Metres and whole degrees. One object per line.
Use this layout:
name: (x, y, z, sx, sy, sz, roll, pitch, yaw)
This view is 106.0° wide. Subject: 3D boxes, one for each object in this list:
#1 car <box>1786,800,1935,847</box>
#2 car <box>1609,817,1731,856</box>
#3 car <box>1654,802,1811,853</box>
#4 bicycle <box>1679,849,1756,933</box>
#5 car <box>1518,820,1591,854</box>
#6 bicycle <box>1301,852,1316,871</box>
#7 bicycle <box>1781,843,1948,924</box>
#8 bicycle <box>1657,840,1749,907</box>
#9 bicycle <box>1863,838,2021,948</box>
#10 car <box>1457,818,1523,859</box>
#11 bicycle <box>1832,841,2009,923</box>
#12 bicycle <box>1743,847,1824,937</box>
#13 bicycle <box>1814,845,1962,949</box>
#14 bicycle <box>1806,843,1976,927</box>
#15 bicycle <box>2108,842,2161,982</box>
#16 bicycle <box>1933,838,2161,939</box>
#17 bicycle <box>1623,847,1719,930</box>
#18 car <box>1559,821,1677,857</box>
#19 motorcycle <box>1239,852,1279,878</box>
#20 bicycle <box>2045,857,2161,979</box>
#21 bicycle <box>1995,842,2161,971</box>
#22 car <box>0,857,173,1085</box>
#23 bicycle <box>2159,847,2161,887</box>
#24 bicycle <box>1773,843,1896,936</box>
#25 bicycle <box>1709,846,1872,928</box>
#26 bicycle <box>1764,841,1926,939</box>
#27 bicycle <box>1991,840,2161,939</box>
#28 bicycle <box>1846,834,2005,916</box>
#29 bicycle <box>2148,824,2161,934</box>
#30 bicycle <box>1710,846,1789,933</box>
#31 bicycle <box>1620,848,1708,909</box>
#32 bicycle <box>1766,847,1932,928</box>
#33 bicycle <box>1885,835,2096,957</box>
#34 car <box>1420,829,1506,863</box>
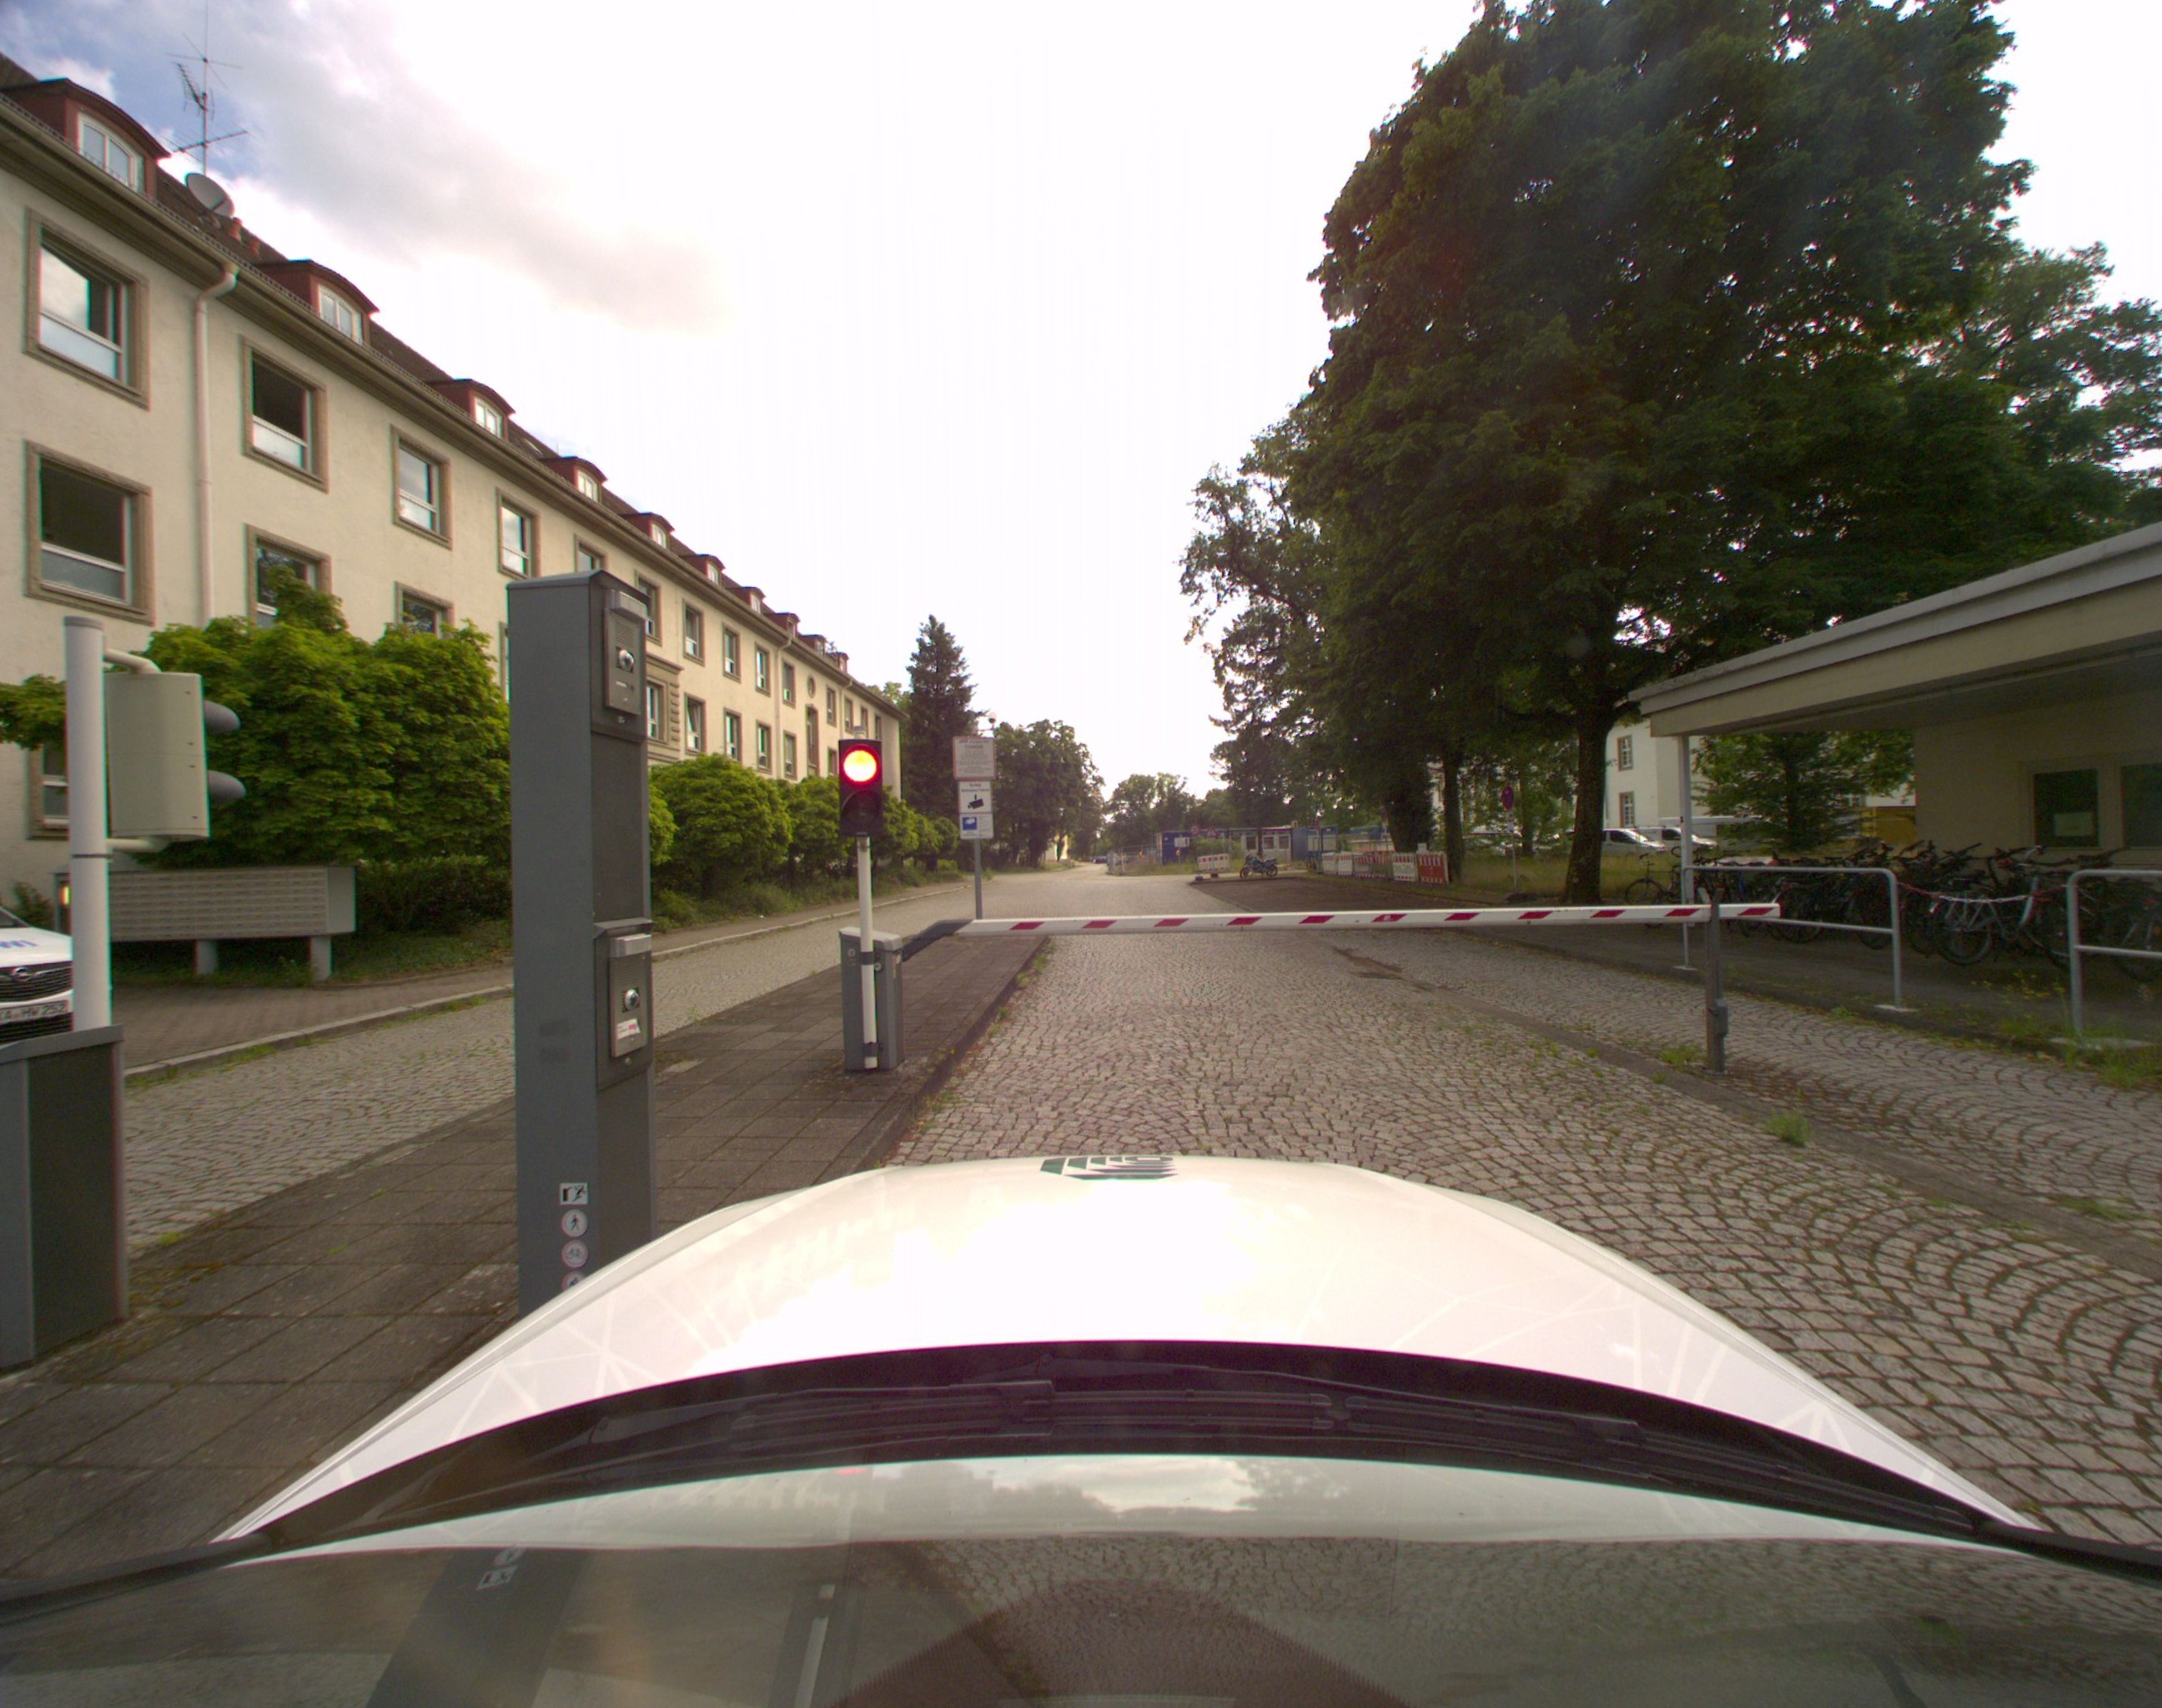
car: (40.308, -1.507, 42.396, 2.431, 1.957, 5.697, -3, -2, 4)
car: (31.005, -0.874, 43.065, 2.004, 1.789, 4.798, -1, -1, -26)
car: (34.154, -1.293, 42.955, 2.006, 2.308, 6.141, -1, -1, -29)
bicycle: (9.394, 0.524, 12.012, 1.387, 1.171, 0.355, -1, -3, -31)
car: (30.678, -1.078, 52.989, 1.986, 2.013, 4.842, -2, 0, 2)
bicycle: (12.324, 0.412, 44.174, 0.330, 1.008, 1.726, -2, -2, 2)
bicycle: (11.432, 0.436, 11.975, 0.371, 1.081, 1.892, -2, -2, -8)
bicycle: (11.696, 0.374, 15.382, 0.502, 1.171, 1.555, -2, -2, 1)
bicycle: (10.041, 0.437, 9.497, 1.805, 1.171, 0.494, -2, -3, -19)
car: (26.415, -0.916, 52.826, 1.984, 2.424, 5.364, -2, -1, 5)
bicycle: (12.208, 0.409, 11.937, 0.371, 1.083, 1.892, -2, -2, -8)
bicycle: (9.747, 0.514, 11.293, 1.387, 1.171, 0.355, -1, -3, -31)
bicycle: (9.926, 0.509, 10.016, 1.749, 1.171, 0.494, -2, -3, -19)
bicycle: (11.810, 0.429, 11.972, 0.371, 1.119, 1.893, -2, -1, -8)
bicycle: (9.995, 0.454, 7.051, 1.978, 1.171, 0.400, -2, -2, -9)
bicycle: (11.819, 0.416, 10.049, 0.371, 1.119, 1.892, -2, -2, -8)
bicycle: (9.172, 0.522, 12.659, 1.383, 1.171, 0.431, -3, -2, -20)
car: (28.172, -0.757, 42.917, 2.004, 1.650, 4.798, -1, -1, -26)
motorcycle: (9.325, 0.563, 42.688, 1.950, 1.194, 0.461, -4, 4, 0)
bicycle: (9.937, 0.545, 7.474, 1.978, 1.029, 0.400, -2, -2, -9)
bicycle: (9.923, 0.496, 8.085, 1.704, 1.160, 0.399, -2, -3, -18)
car: (-10.766, 0.882, 6.659, 4.424, 1.751, 1.858, 2, 0, -2)
bicycle: (9.682, 0.482, 6.427, 2.013, 1.171, 0.400, -2, -2, -7)
bicycle: (10.194, 0.472, 11.022, 1.377, 1.171, 0.358, -2, -2, -7)
bicycle: (10.487, 0.479, 12.124, 0.446, 1.119, 1.785, -2, -1, -23)
bicycle: (9.944, 0.463, 10.608, 1.797, 1.171, 0.358, -2, -2, -4)
bicycle: (12.387, 0.419, 9.857, 0.371, 1.119, 1.892, -2, -2, -8)
bicycle: (12.665, 0.324, 12.301, 0.370, 1.128, 1.898, -2, -2, 0)
bicycle: (11.925, 0.209, 7.969, 1.878, 1.119, 0.447, -3, -2, 14)
bicycle: (9.564, 0.490, 11.647, 1.387, 1.171, 0.355, -1, -3, -31)
bicycle: (11.098, 0.440, 15.566, 0.502, 1.086, 1.585, -2, 0, -1)
bicycle: (11.085, 0.459, 11.857, 0.371, 1.067, 1.907, -2, 0, -8)
bicycle: (9.649, 0.430, 8.655, 1.800, 1.171, 0.581, -2, -2, -10)
car: (22.744, -0.463, 48.608, 4.201, 1.820, 2.002, -2, -1, 4)
